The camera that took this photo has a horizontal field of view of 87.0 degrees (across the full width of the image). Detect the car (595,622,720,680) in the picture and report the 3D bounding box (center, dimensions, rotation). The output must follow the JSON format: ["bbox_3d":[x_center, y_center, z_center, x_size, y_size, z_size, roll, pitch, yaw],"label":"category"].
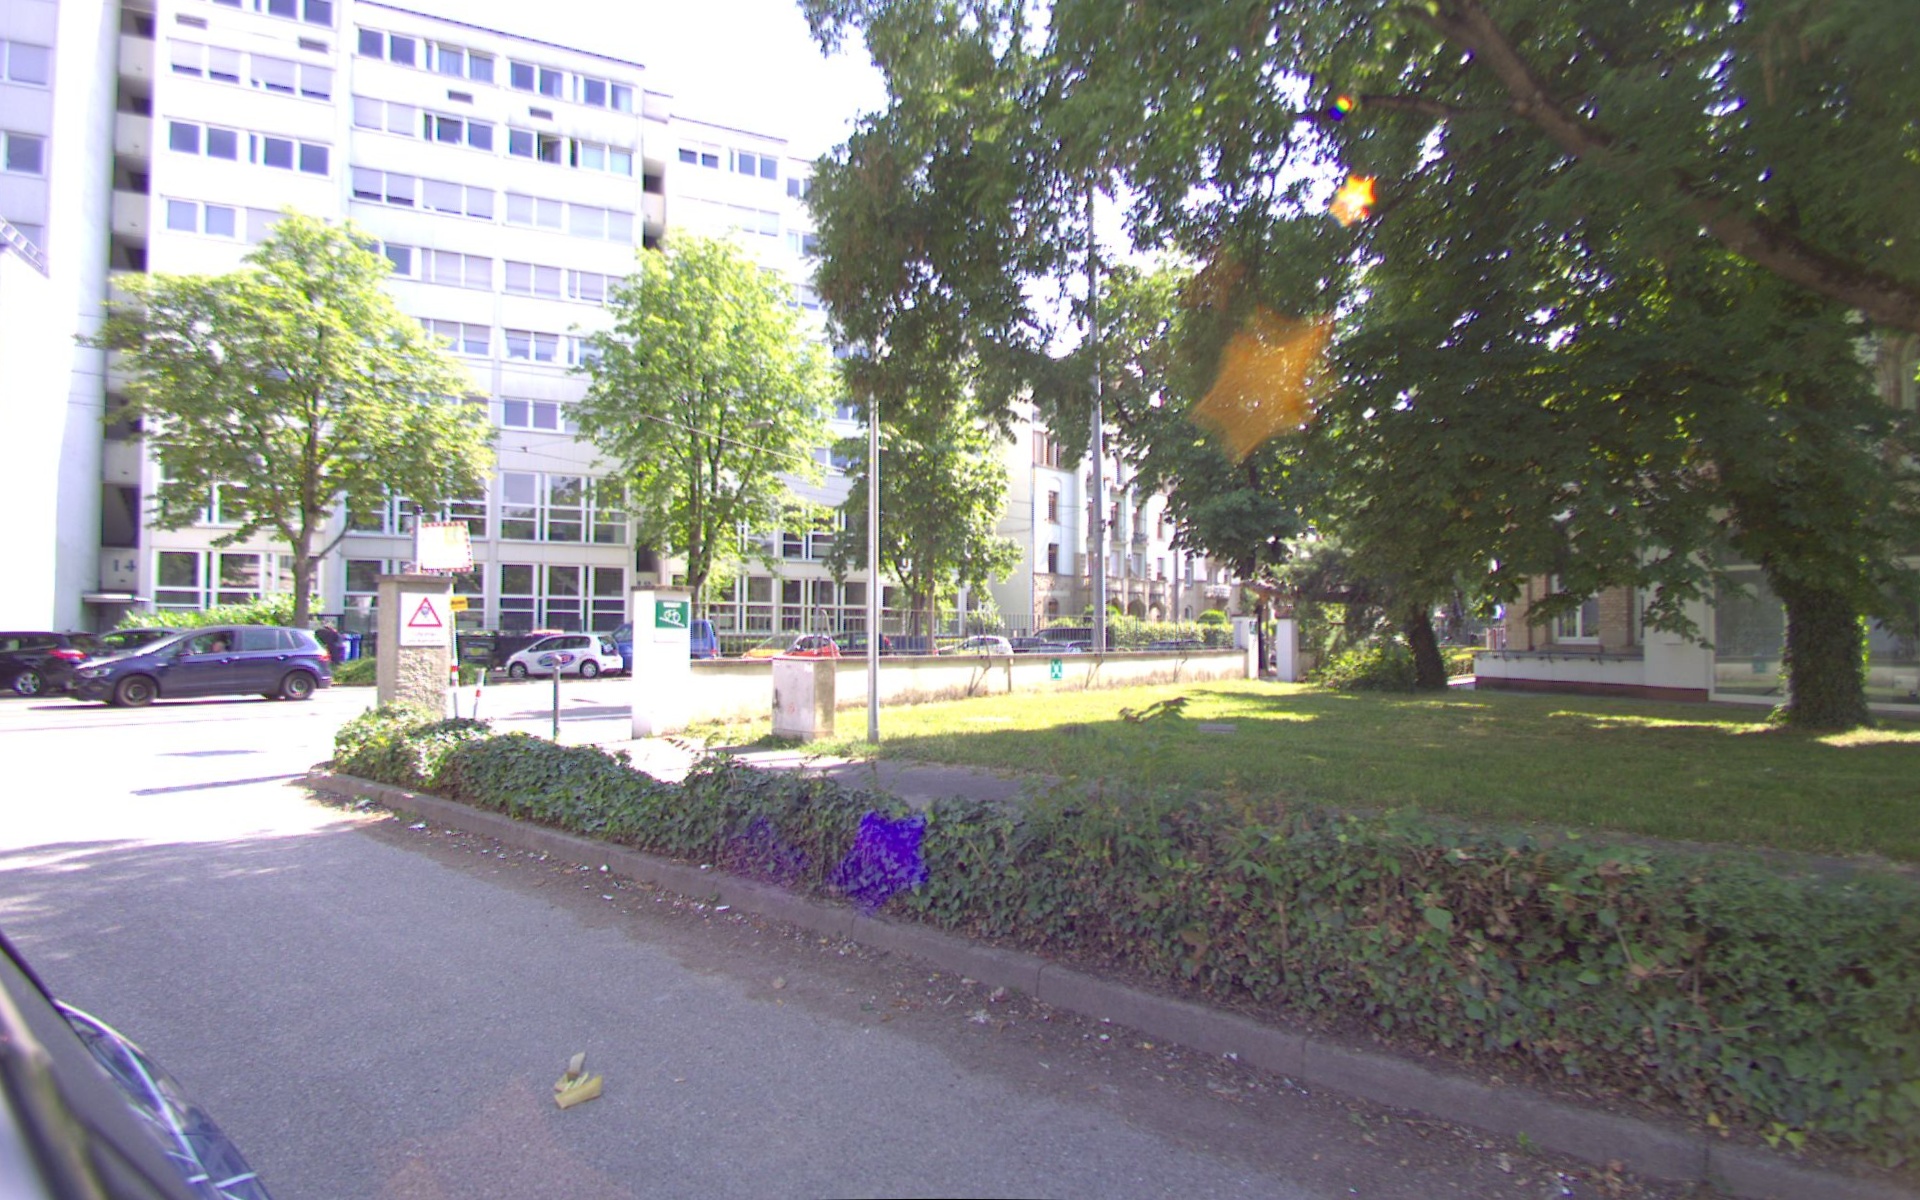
[{"bbox_3d":[-10.489,1.759,35.363,3.938,1.921,1.789,-1,-3,-6],"label":"car"}]

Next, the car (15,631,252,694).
[{"bbox_3d":[-20.447,1.521,25.188,4.273,1.498,1.804,0,-2,-6],"label":"car"}]

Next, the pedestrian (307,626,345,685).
[{"bbox_3d":[-19.560,1.706,31.219,0.731,1.790,0.743,-2,-3,38],"label":"pedestrian"}]

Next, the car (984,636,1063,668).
[{"bbox_3d":[3.283,2.710,52.992,3.942,1.674,1.830,0,-2,-2],"label":"car"}]

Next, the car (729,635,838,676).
[{"bbox_3d":[-6.971,2.192,40.297,4.154,1.550,1.785,-1,-3,-6],"label":"car"}]

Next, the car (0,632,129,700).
[{"bbox_3d":[-21.657,1.468,22.846,4.118,1.487,1.805,0,-2,-9],"label":"car"}]

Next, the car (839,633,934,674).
[{"bbox_3d":[-3.136,2.241,42.823,3.938,1.652,1.806,-1,-3,-6],"label":"car"}]

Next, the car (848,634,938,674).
[{"bbox_3d":[-3.027,2.396,45.141,3.938,1.652,1.835,-1,-3,-6],"label":"car"}]

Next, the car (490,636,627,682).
[{"bbox_3d":[-13.020,1.904,32.931,3.802,1.475,1.707,0,-2,6],"label":"car"}]

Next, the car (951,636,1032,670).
[{"bbox_3d":[1.535,2.629,50.716,3.942,1.674,1.830,0,-2,-2],"label":"car"}]

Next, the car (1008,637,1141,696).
[{"bbox_3d":[3.200,1.777,27.692,1.732,1.488,3.946,-3,-3,40],"label":"car"}]

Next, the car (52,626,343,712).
[{"bbox_3d":[-15.159,1.321,20.315,1.941,1.533,4.332,-3,-3,39],"label":"car"}]

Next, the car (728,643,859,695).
[{"bbox_3d":[-4.950,2.047,30.573,1.656,1.423,4.132,-2,-3,30],"label":"car"}]

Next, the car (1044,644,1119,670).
[{"bbox_3d":[6.900,3.239,57.633,3.939,1.428,1.787,0,-3,-4],"label":"car"}]
